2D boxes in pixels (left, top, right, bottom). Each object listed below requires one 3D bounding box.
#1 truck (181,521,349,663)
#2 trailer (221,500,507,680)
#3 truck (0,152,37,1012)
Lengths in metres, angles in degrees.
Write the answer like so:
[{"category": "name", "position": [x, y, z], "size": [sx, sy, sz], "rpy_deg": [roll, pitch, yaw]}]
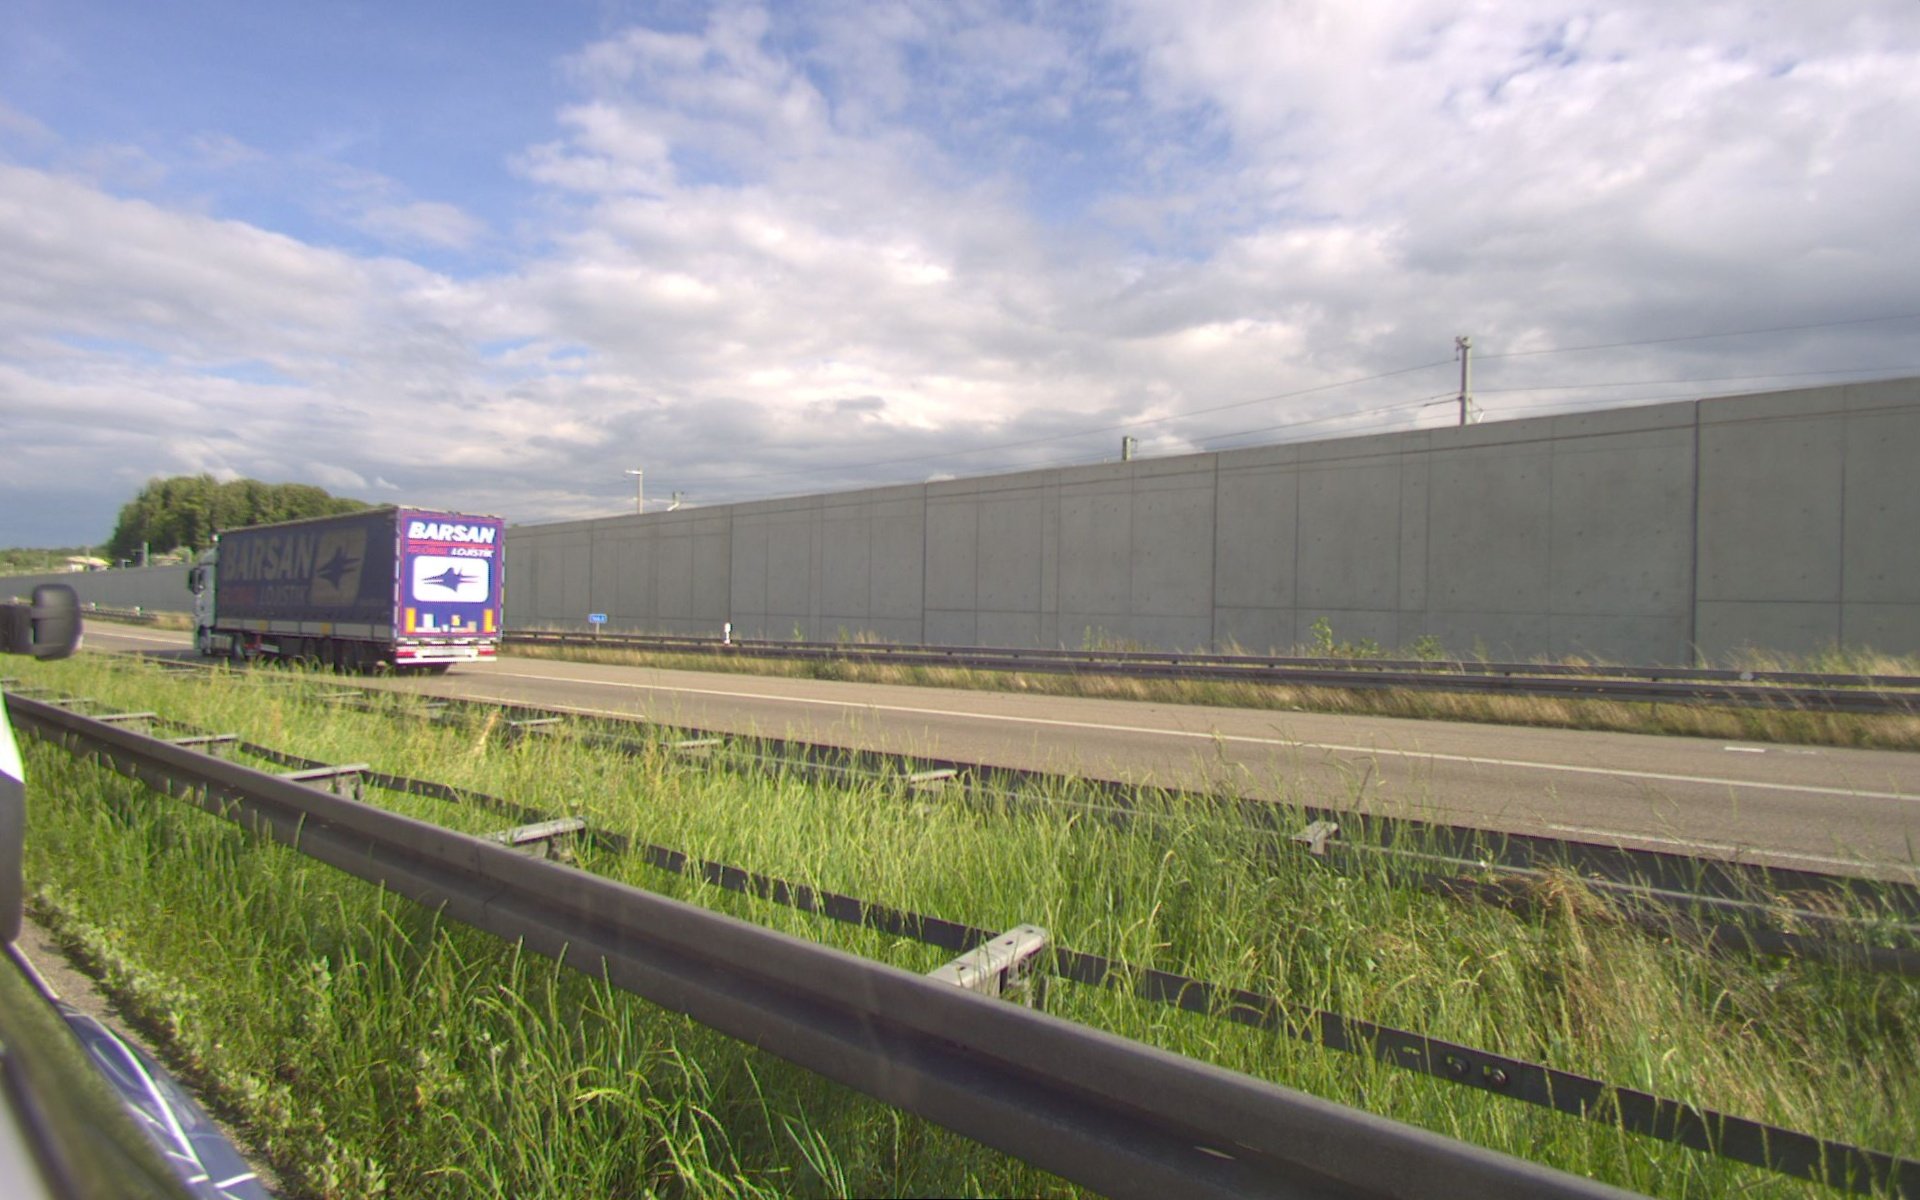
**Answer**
[{"category": "truck", "position": [-22.502, -0.226, 32.632], "size": [6.995, 4.129, 2.612], "rpy_deg": [0, 0, 39]}, {"category": "trailer", "position": [-16.921, -0.206, 28.046], "size": [12.383, 4.111, 2.628], "rpy_deg": [0, 0, 39]}, {"category": "truck", "position": [-7.013, -0.051, 5.561], "size": [7.800, 3.129, 2.033], "rpy_deg": [0, 0, 41]}]
